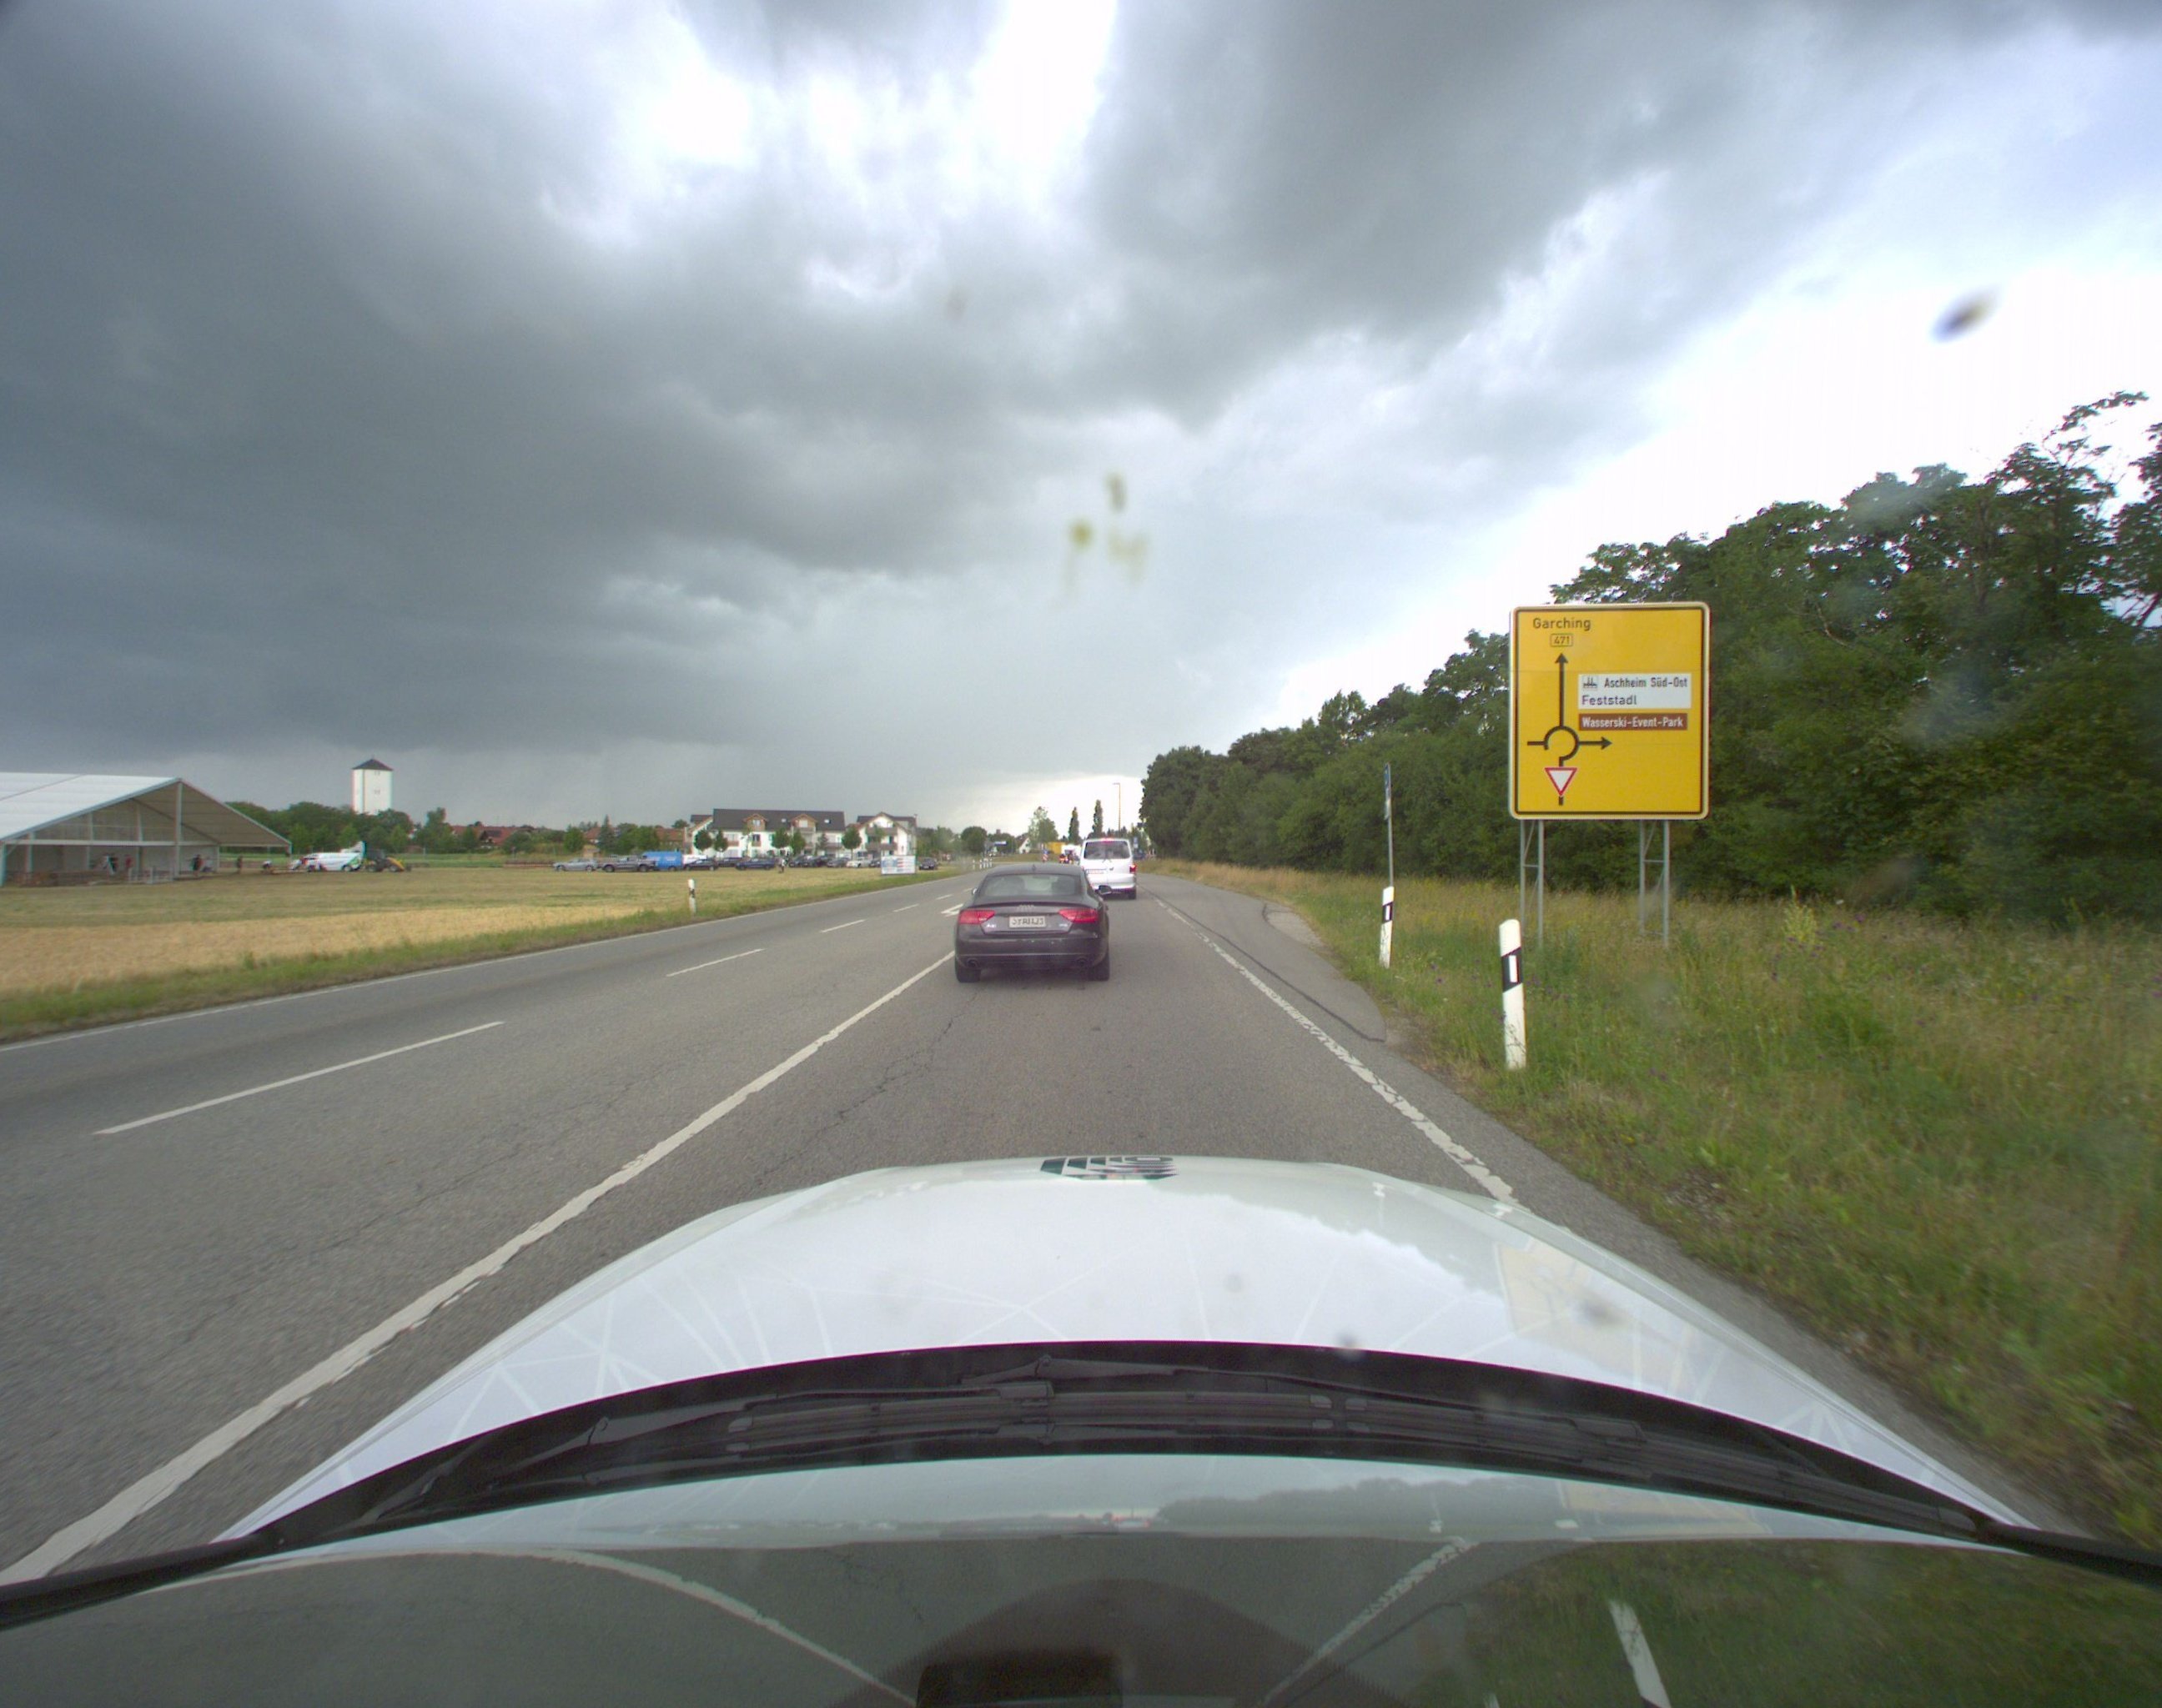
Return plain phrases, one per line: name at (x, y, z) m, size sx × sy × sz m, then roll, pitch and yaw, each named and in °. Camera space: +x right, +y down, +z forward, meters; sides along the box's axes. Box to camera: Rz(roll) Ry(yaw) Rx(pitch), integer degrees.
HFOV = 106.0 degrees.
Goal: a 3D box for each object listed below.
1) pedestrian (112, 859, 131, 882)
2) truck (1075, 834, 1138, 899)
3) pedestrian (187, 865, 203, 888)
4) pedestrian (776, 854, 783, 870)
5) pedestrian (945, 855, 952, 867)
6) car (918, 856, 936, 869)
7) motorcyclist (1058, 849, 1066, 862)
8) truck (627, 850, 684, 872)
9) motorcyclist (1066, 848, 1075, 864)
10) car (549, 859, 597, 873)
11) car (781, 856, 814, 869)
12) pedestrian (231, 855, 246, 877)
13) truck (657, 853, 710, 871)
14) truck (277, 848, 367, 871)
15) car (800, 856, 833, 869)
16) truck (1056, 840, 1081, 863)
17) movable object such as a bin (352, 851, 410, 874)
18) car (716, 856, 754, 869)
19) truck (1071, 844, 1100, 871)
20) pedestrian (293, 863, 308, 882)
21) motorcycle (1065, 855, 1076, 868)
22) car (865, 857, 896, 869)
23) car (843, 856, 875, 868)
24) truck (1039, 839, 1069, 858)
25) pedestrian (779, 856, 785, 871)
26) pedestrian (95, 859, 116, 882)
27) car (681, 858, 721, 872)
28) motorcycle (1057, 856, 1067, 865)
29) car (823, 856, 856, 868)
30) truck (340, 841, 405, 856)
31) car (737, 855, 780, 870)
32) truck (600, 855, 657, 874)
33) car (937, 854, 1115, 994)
pedestrian at (-73.743, 1.279, 62.563) m, size 0.656 × 1.744 × 0.722 m, roll 0°, pitch 0°, yaw -19°
truck at (0.837, 0.376, 27.347) m, size 1.897 × 1.998 × 4.629 m, roll 0°, pitch 0°, yaw 1°
pedestrian at (-71.776, 1.807, 65.970) m, size 0.692 × 1.776 × 0.689 m, roll 0°, pitch 0°, yaw -27°
pedestrian at (-32.377, 0.854, 87.440) m, size 0.548 × 1.786 × 0.675 m, roll 0°, pitch 0°, yaw -11°
pedestrian at (-18.447, 0.943, 113.390) m, size 0.695 × 1.586 × 0.660 m, roll -1°, pitch 0°, yaw 18°
car at (-17.665, 0.979, 93.690) m, size 1.994 × 1.442 × 3.987 m, roll 0°, pitch 1°, yaw -10°
motorcyclist at (-2.118, 0.145, 89.953) m, size 0.784 × 1.356 × 0.852 m, roll 0°, pitch 0°, yaw -5°
truck at (-48.467, 0.774, 92.912) m, size 5.470 × 2.446 × 2.376 m, roll 0°, pitch 0°, yaw -22°
motorcyclist at (-0.971, 0.192, 73.738) m, size 0.769 × 1.383 × 0.821 m, roll 0°, pitch 0°, yaw 3°
car at (-56.065, 1.264, 89.978) m, size 4.316 × 1.461 × 1.876 m, roll 0°, pitch 0°, yaw -26°
car at (-38.151, 1.103, 109.699) m, size 1.977 × 1.629 × 4.232 m, roll -1°, pitch 0°, yaw 19°
pedestrian at (-73.811, 1.055, 71.332) m, size 0.626 × 1.866 × 0.704 m, roll 0°, pitch 0°, yaw -19°
truck at (-48.947, 0.985, 100.395) m, size 5.587 × 2.196 × 2.588 m, roll 0°, pitch 0°, yaw -22°
truck at (-76.015, 0.566, 81.744) m, size 6.076 × 2.217 × 2.697 m, roll 0°, pitch 0°, yaw -27°
car at (-34.872, 1.050, 107.536) m, size 1.977 × 1.629 × 4.232 m, roll -1°, pitch 0°, yaw 19°
truck at (-1.608, -0.251, 101.190) m, size 2.623 × 2.737 × 5.855 m, roll 0°, pitch 0°, yaw -6°
movable object such as a bin at (-69.495, 0.834, 80.963) m, size 4.006 × 2.243 × 1.869 m, roll 0°, pitch 0°, yaw -27°
car at (-47.469, 1.189, 111.681) m, size 4.640 × 1.697 × 1.987 m, roll 0°, pitch 0°, yaw -20°
truck at (0.393, 0.258, 62.870) m, size 2.186 × 2.013 × 5.086 m, roll 0°, pitch 0°, yaw 1°
pedestrian at (-72.112, 1.725, 75.241) m, size 0.689 × 1.776 × 0.692 m, roll 0°, pitch 0°, yaw -11°
motorcycle at (-0.941, 0.678, 73.745) m, size 0.916 × 1.094 × 2.190 m, roll 0°, pitch 0°, yaw 3°
car at (-26.109, 1.118, 106.174) m, size 1.977 × 1.446 × 4.232 m, roll -1°, pitch 0°, yaw 19°
car at (-28.991, 1.057, 106.597) m, size 1.977 × 1.446 × 4.232 m, roll -1°, pitch 0°, yaw 19°
truck at (-5.540, -1.147, 162.981) m, size 3.585 × 3.578 × 9.899 m, roll 0°, pitch 0°, yaw -17°
pedestrian at (-32.432, 1.046, 88.392) m, size 0.591 × 1.555 × 0.622 m, roll 0°, pitch 0°, yaw -18°
pedestrian at (-74.836, 1.277, 62.453) m, size 0.732 × 1.779 × 0.755 m, roll 0°, pitch 0°, yaw -19°
car at (-45.487, 1.297, 97.533) m, size 4.168 × 1.519 × 1.987 m, roll 0°, pitch 0°, yaw -20°
motorcycle at (-2.118, 0.713, 90.076) m, size 0.942 × 1.019 × 2.280 m, roll 0°, pitch 0°, yaw -5°
car at (-31.716, 1.053, 107.096) m, size 1.977 × 1.535 × 4.232 m, roll -1°, pitch 0°, yaw 19°
truck at (-128.958, -1.015, 148.236) m, size 9.300 × 2.530 × 3.305 m, roll 0°, pitch 0°, yaw 5°
car at (-39.523, 1.040, 99.865) m, size 4.731 × 1.697 × 1.987 m, roll 0°, pitch 0°, yaw -20°
truck at (-49.210, 1.104, 88.671) m, size 5.253 × 1.920 × 2.094 m, roll 0°, pitch 0°, yaw -26°
car at (-0.563, 0.742, 10.743) m, size 1.868 × 1.454 × 4.177 m, roll -1°, pitch 0°, yaw 0°
